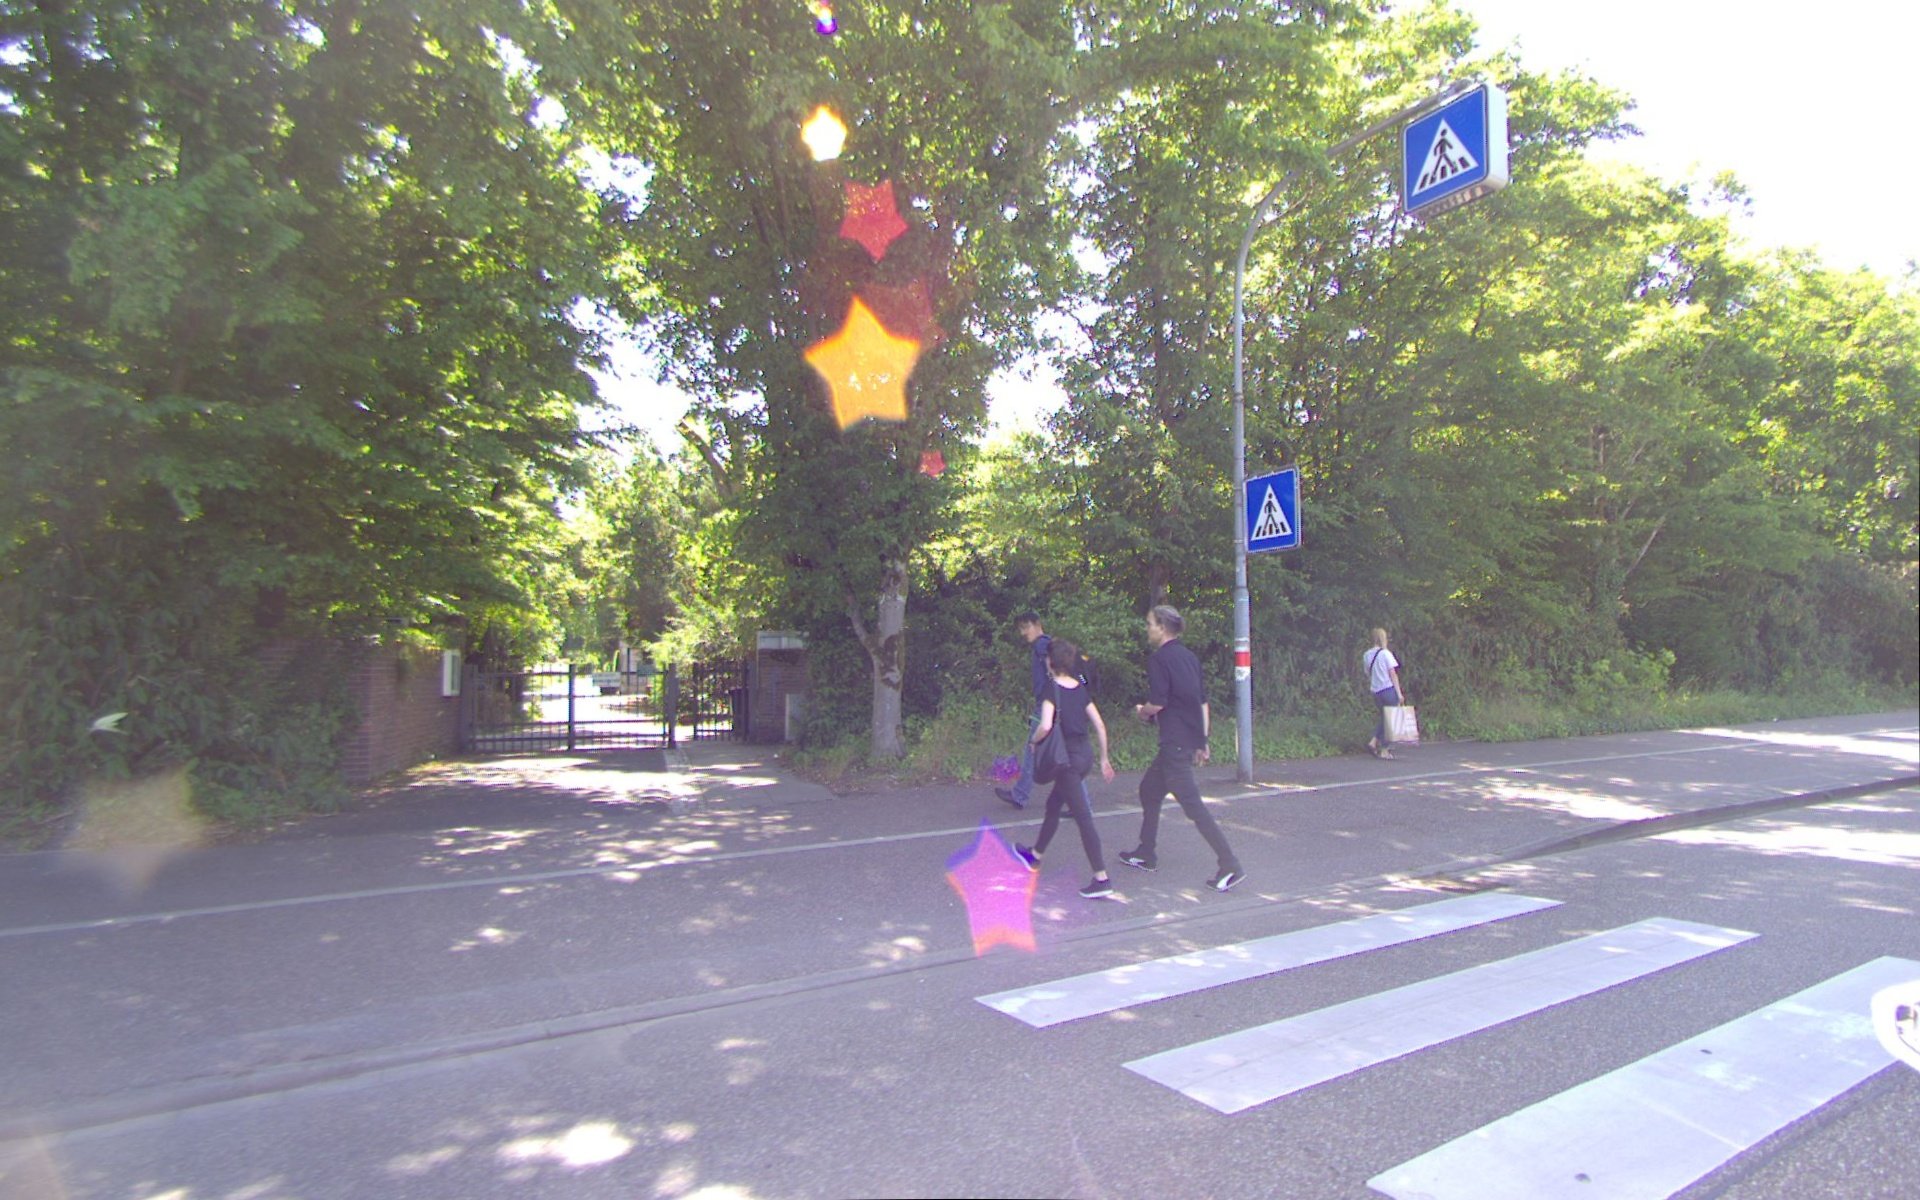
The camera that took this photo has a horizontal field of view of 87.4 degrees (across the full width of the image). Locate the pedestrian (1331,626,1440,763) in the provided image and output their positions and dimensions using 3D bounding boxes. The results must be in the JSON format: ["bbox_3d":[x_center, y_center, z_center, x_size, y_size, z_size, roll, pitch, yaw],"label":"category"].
[{"bbox_3d":[5.328,1.150,12.597,0.876,1.634,0.927,2,-2,-32],"label":"pedestrian"}]

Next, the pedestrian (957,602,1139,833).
[{"bbox_3d":[0.737,0.932,8.617,1.013,1.775,1.147,1,1,-34],"label":"pedestrian"}]

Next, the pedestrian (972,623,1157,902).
[{"bbox_3d":[0.673,0.985,6.586,0.774,1.633,0.886,1,1,-38],"label":"pedestrian"}]

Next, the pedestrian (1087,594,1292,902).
[{"bbox_3d":[1.553,0.921,6.877,0.777,1.889,1.074,1,1,-38],"label":"pedestrian"}]
